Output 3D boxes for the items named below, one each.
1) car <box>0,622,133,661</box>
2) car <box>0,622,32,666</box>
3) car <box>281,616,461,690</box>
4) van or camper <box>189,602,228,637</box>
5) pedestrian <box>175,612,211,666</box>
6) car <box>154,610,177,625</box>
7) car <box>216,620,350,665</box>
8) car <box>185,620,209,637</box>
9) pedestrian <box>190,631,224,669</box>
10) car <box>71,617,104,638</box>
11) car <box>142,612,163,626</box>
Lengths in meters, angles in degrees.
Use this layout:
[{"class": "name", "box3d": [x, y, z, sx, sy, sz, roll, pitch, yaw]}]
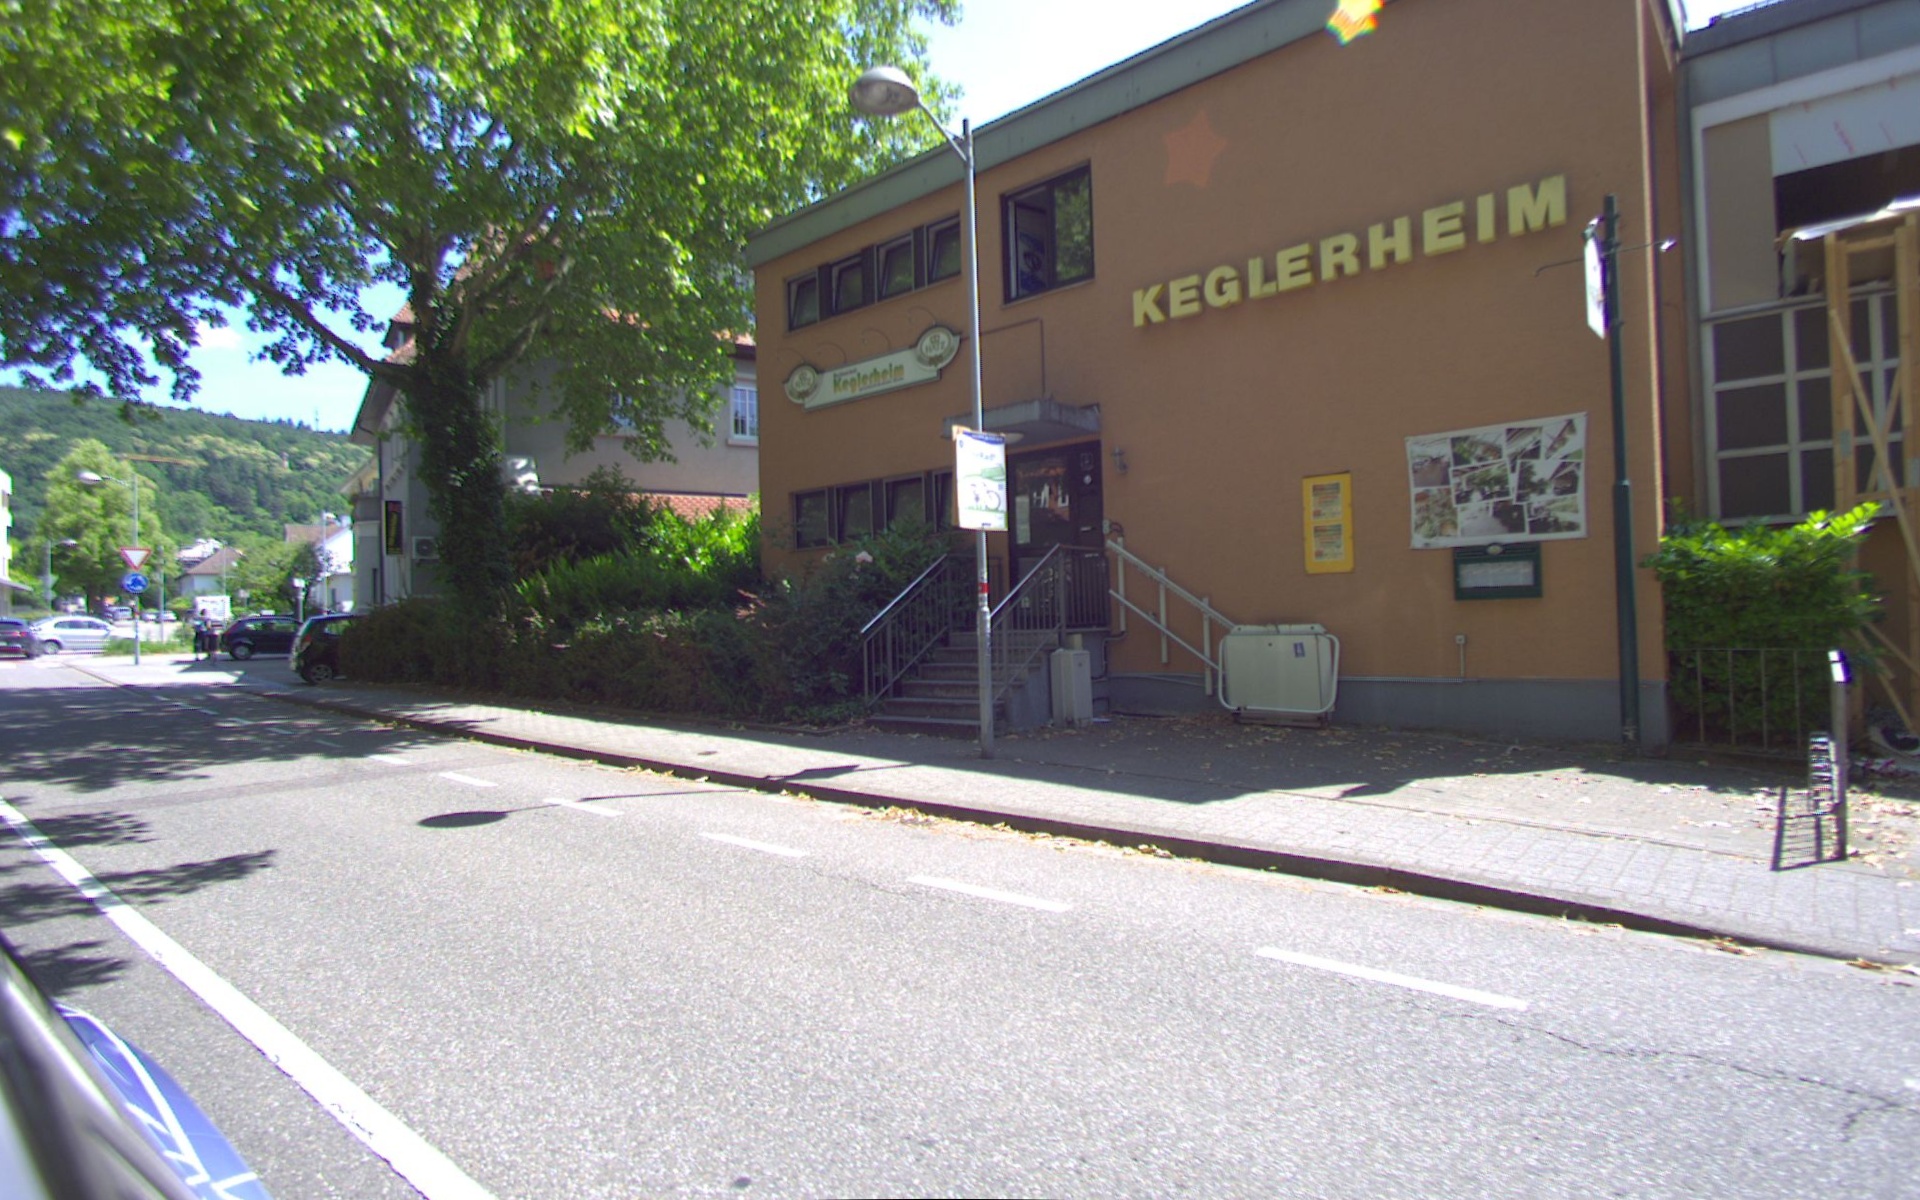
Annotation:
[{"class": "car", "box3d": [-35.264, 1.595, 39.853, 1.606, 1.463, 3.948, -1, -1, 39]}, {"class": "car", "box3d": [-32.754, 1.458, 34.411, 1.747, 1.437, 4.397, 1, -2, -43]}, {"class": "car", "box3d": [-13.435, 1.150, 23.152, 3.338, 1.558, 1.727, 1, -1, -39]}, {"class": "van or camper", "box3d": [-61.171, 1.572, 82.292, 2.238, 2.658, 5.896, -3, 1, -39]}, {"class": "pedestrian", "box3d": [-25.626, 1.290, 33.810, 0.861, 1.755, 1.113, 1, -2, -43]}, {"class": "car", "box3d": [-97.279, 2.135, 123.889, 1.969, 1.679, 4.006, 1, 0, -40]}, {"class": "car", "box3d": [-23.566, 1.438, 35.300, 3.732, 1.471, 1.727, 1, -2, -39]}, {"class": "car", "box3d": [-69.697, 2.617, 92.393, 1.728, 1.516, 4.000, 0, -1, -38]}, {"class": "pedestrian", "box3d": [-23.712, 1.564, 31.869, 0.745, 1.130, 0.898, 1, -2, -43]}, {"class": "car", "box3d": [-64.089, 2.029, 74.342, 1.729, 1.516, 3.999, 0, -1, -40]}, {"class": "car", "box3d": [-105.055, 2.481, 131.597, 1.969, 1.679, 4.006, 1, 0, -40]}]
